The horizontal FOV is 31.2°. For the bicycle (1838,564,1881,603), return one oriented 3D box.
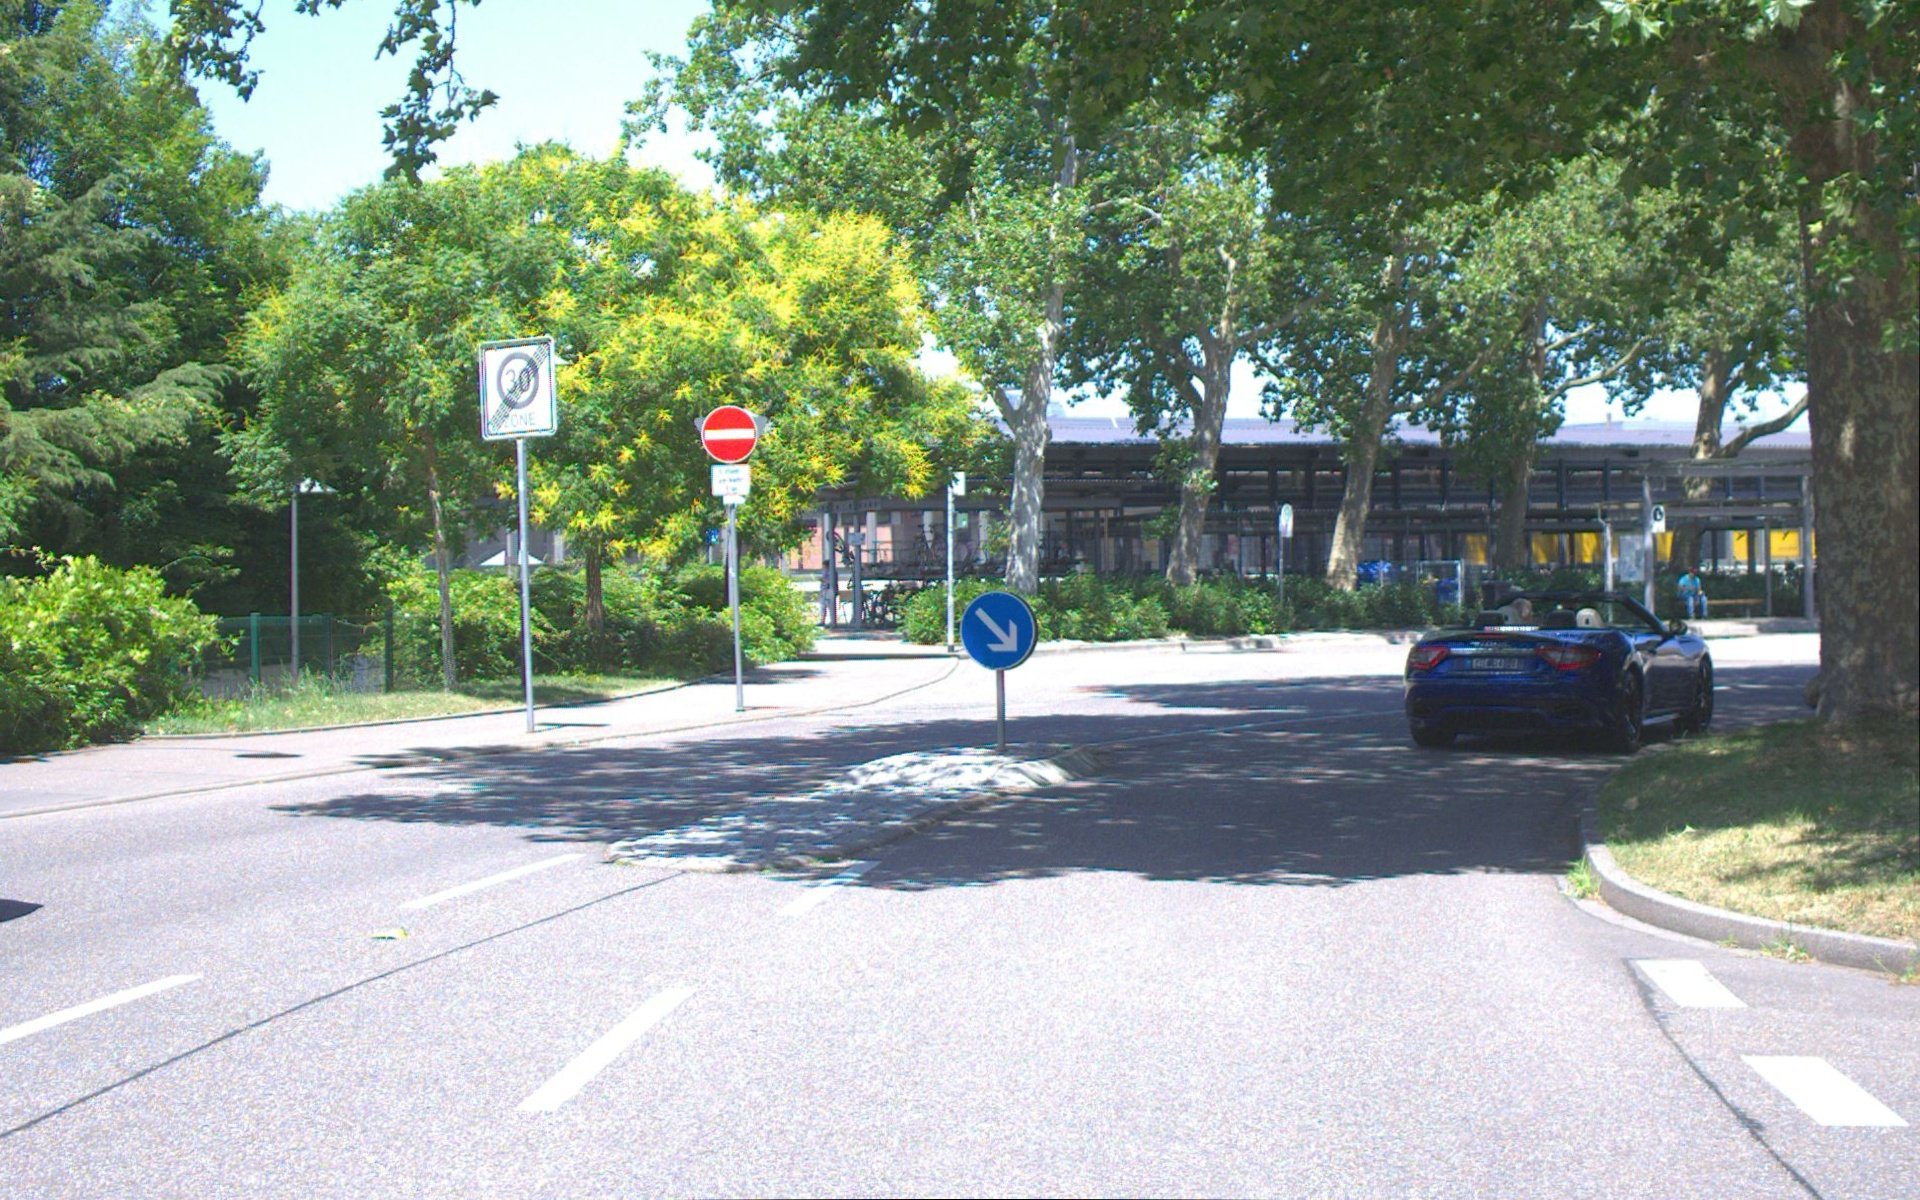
[{"bbox_3d":[25.527,-0.462,97.602,0.385,1.090,1.386,1,-1,-24],"label":"bicycle"}]

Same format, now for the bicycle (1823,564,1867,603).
[{"bbox_3d":[25.079,-0.468,97.430,0.385,1.090,1.386,1,-1,-27],"label":"bicycle"}]

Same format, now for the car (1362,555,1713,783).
[{"bbox_3d":[5.135,0.531,30.124,2.127,1.842,4.043,0,1,23],"label":"car"}]

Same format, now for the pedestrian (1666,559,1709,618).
[{"bbox_3d":[18.091,-0.287,85.464,0.819,1.459,0.607,-1,0,-30],"label":"pedestrian"}]

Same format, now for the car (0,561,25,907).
[{"bbox_3d":[-5.376,0.619,13.365,1.845,1.525,4.338,0,1,7],"label":"car"}]

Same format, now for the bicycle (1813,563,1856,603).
[{"bbox_3d":[24.726,-0.474,97.210,0.385,1.090,1.386,1,-1,-26],"label":"bicycle"}]
